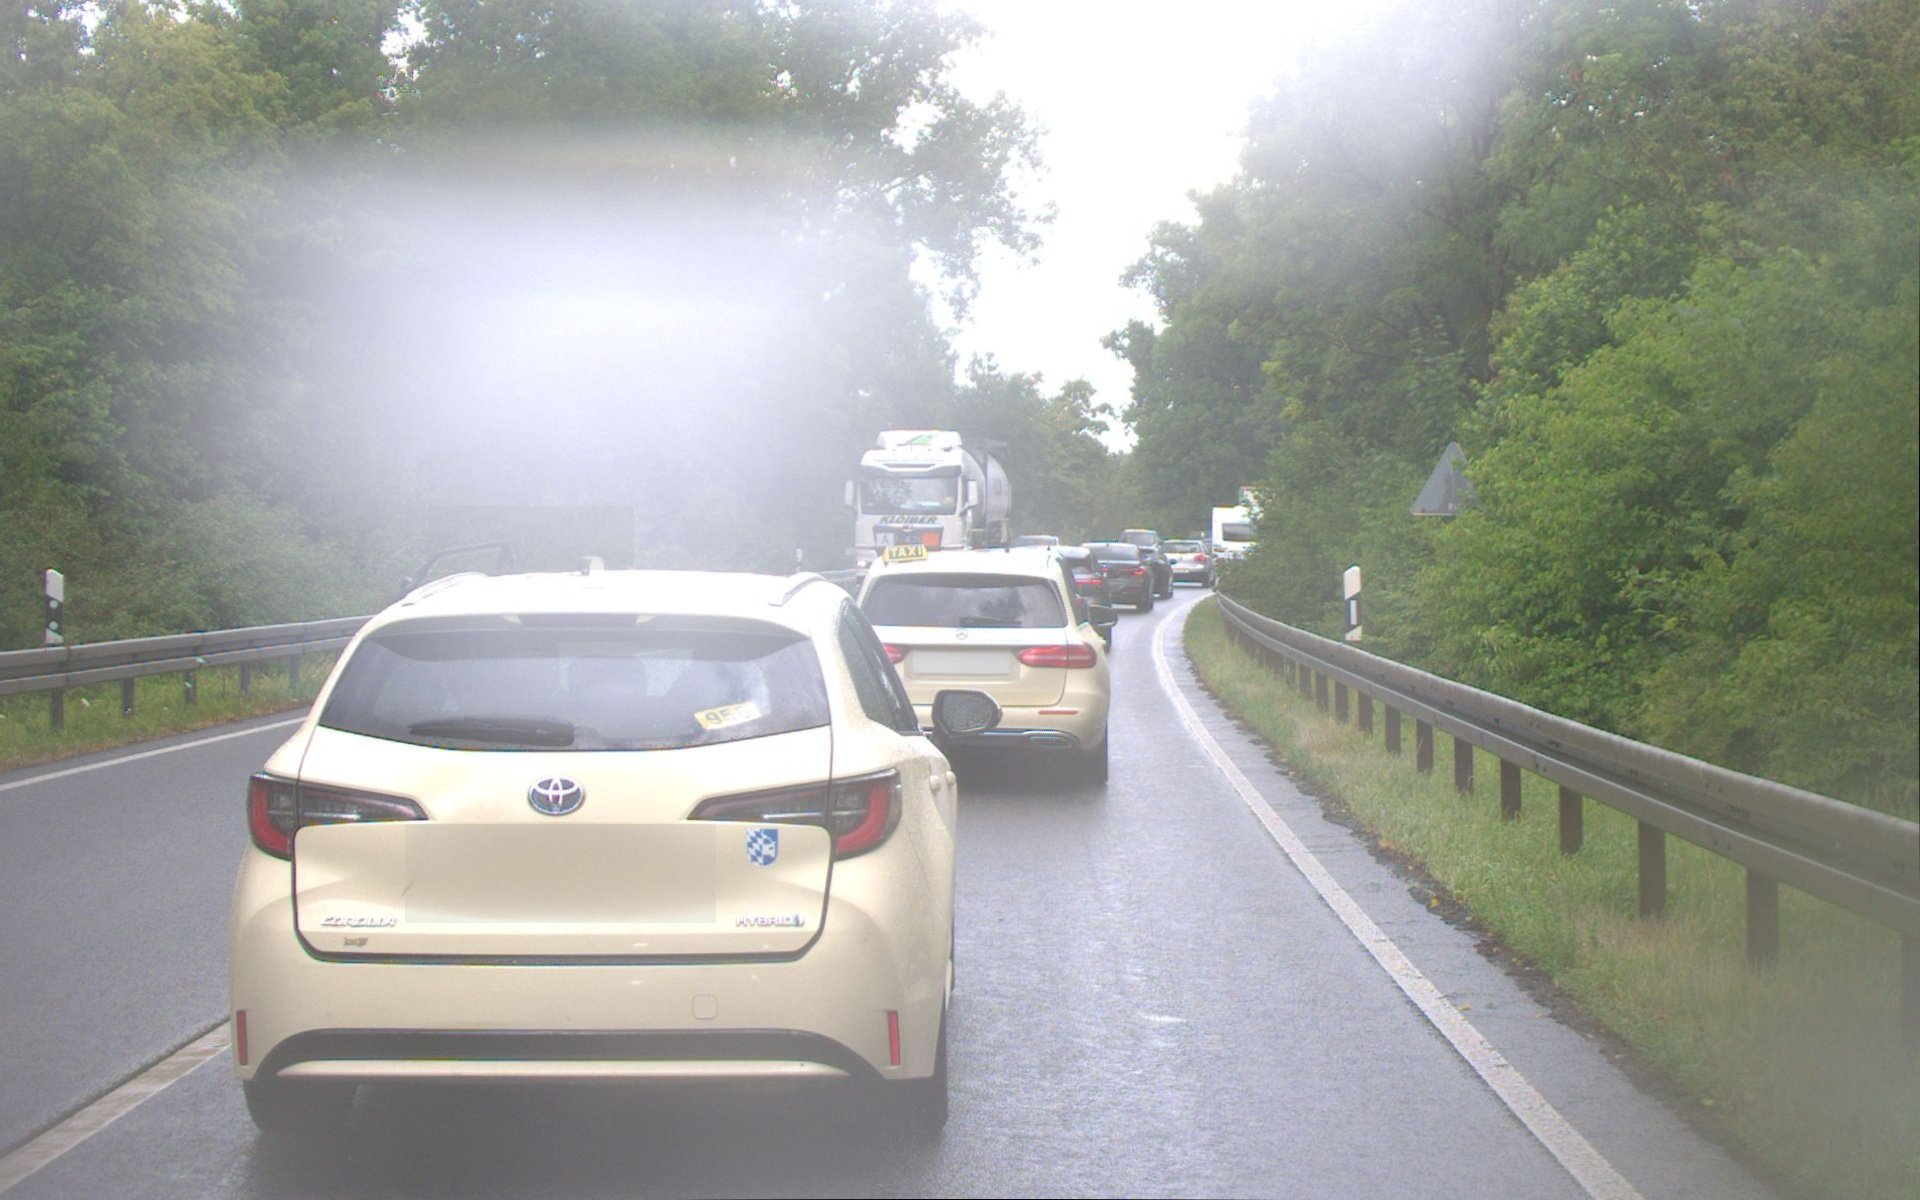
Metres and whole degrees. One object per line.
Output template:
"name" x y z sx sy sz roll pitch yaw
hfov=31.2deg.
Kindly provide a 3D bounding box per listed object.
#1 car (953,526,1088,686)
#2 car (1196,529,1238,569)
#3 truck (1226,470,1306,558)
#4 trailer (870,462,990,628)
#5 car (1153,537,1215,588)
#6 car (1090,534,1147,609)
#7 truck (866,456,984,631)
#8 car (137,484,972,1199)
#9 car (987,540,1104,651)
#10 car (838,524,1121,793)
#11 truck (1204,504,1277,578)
"car" 0.643 0.045 35.221 1.300 1.541 3.260 1 0 2
"car" 13.318 -2.646 177.806 1.584 2.007 3.759 1 0 13
"truck" 13.417 -3.708 150.140 3.108 3.668 6.998 1 0 8
"trailer" -0.665 -1.300 83.667 2.536 3.812 7.791 1 0 2
"car" 7.051 -1.171 108.068 1.770 1.541 3.813 1 0 6
"car" 3.356 -0.602 72.868 1.167 1.541 2.604 1 0 3
"truck" -0.758 -1.258 78.281 2.536 3.812 5.245 1 0 0
"car" -0.908 0.526 9.724 1.834 1.575 4.157 1 0 0
"car" 1.226 -0.098 49.676 1.611 1.541 3.814 0 1 1
"car" 0.183 0.333 22.460 1.667 1.575 3.892 1 0 2
"truck" 10.641 -2.203 130.824 2.550 2.704 7.534 1 0 3
